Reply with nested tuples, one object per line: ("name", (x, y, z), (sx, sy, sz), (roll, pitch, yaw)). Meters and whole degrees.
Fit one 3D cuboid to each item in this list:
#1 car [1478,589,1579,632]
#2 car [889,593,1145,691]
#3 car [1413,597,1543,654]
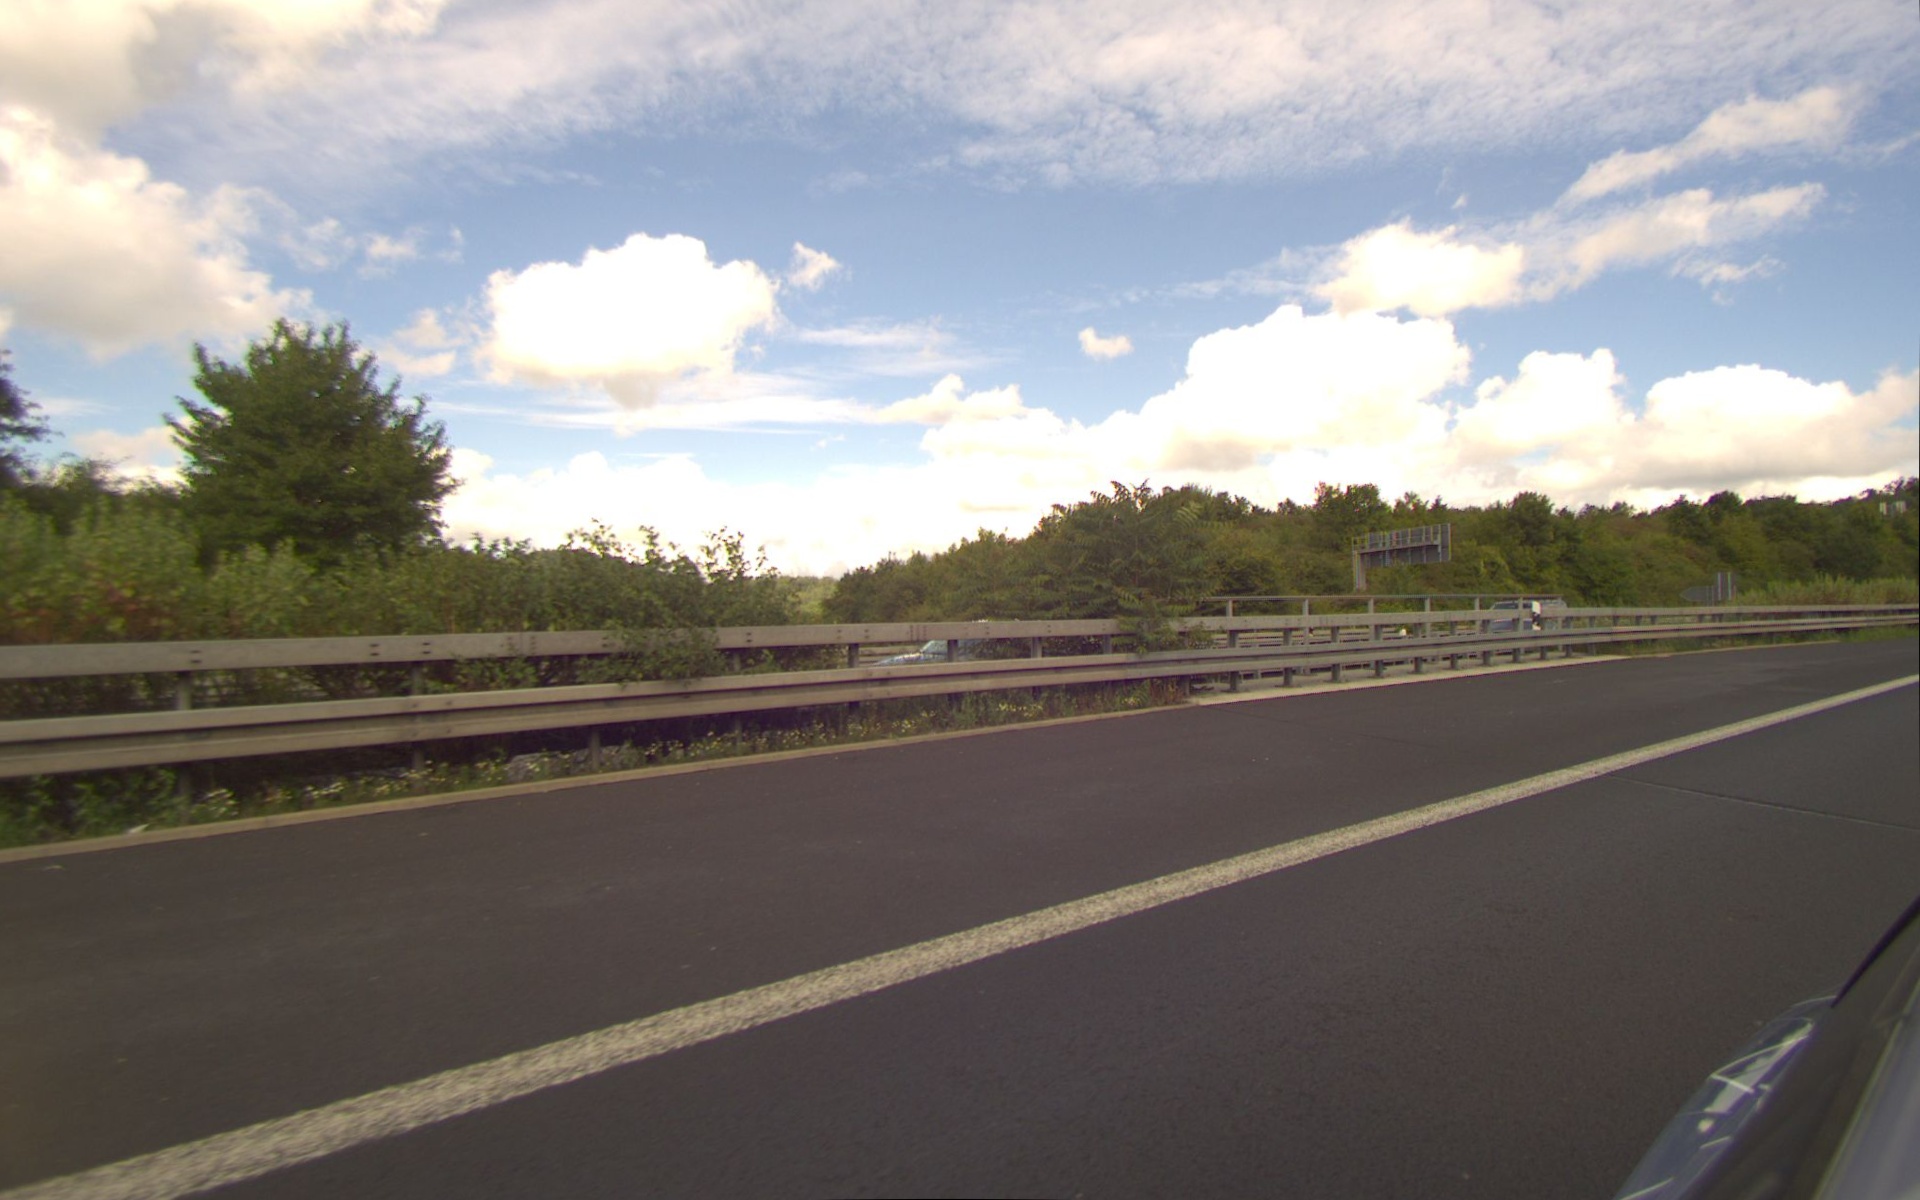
("car", (21.760, 0.371, 38.699), (4.263, 1.591, 1.789), (0, 0, -37))
("car", (1.122, 0.671, 18.325), (4.591, 1.538, 1.788), (-1, 0, -38))
("car", (15.601, 0.718, 30.403), (4.263, 1.591, 1.789), (0, 0, -37))
